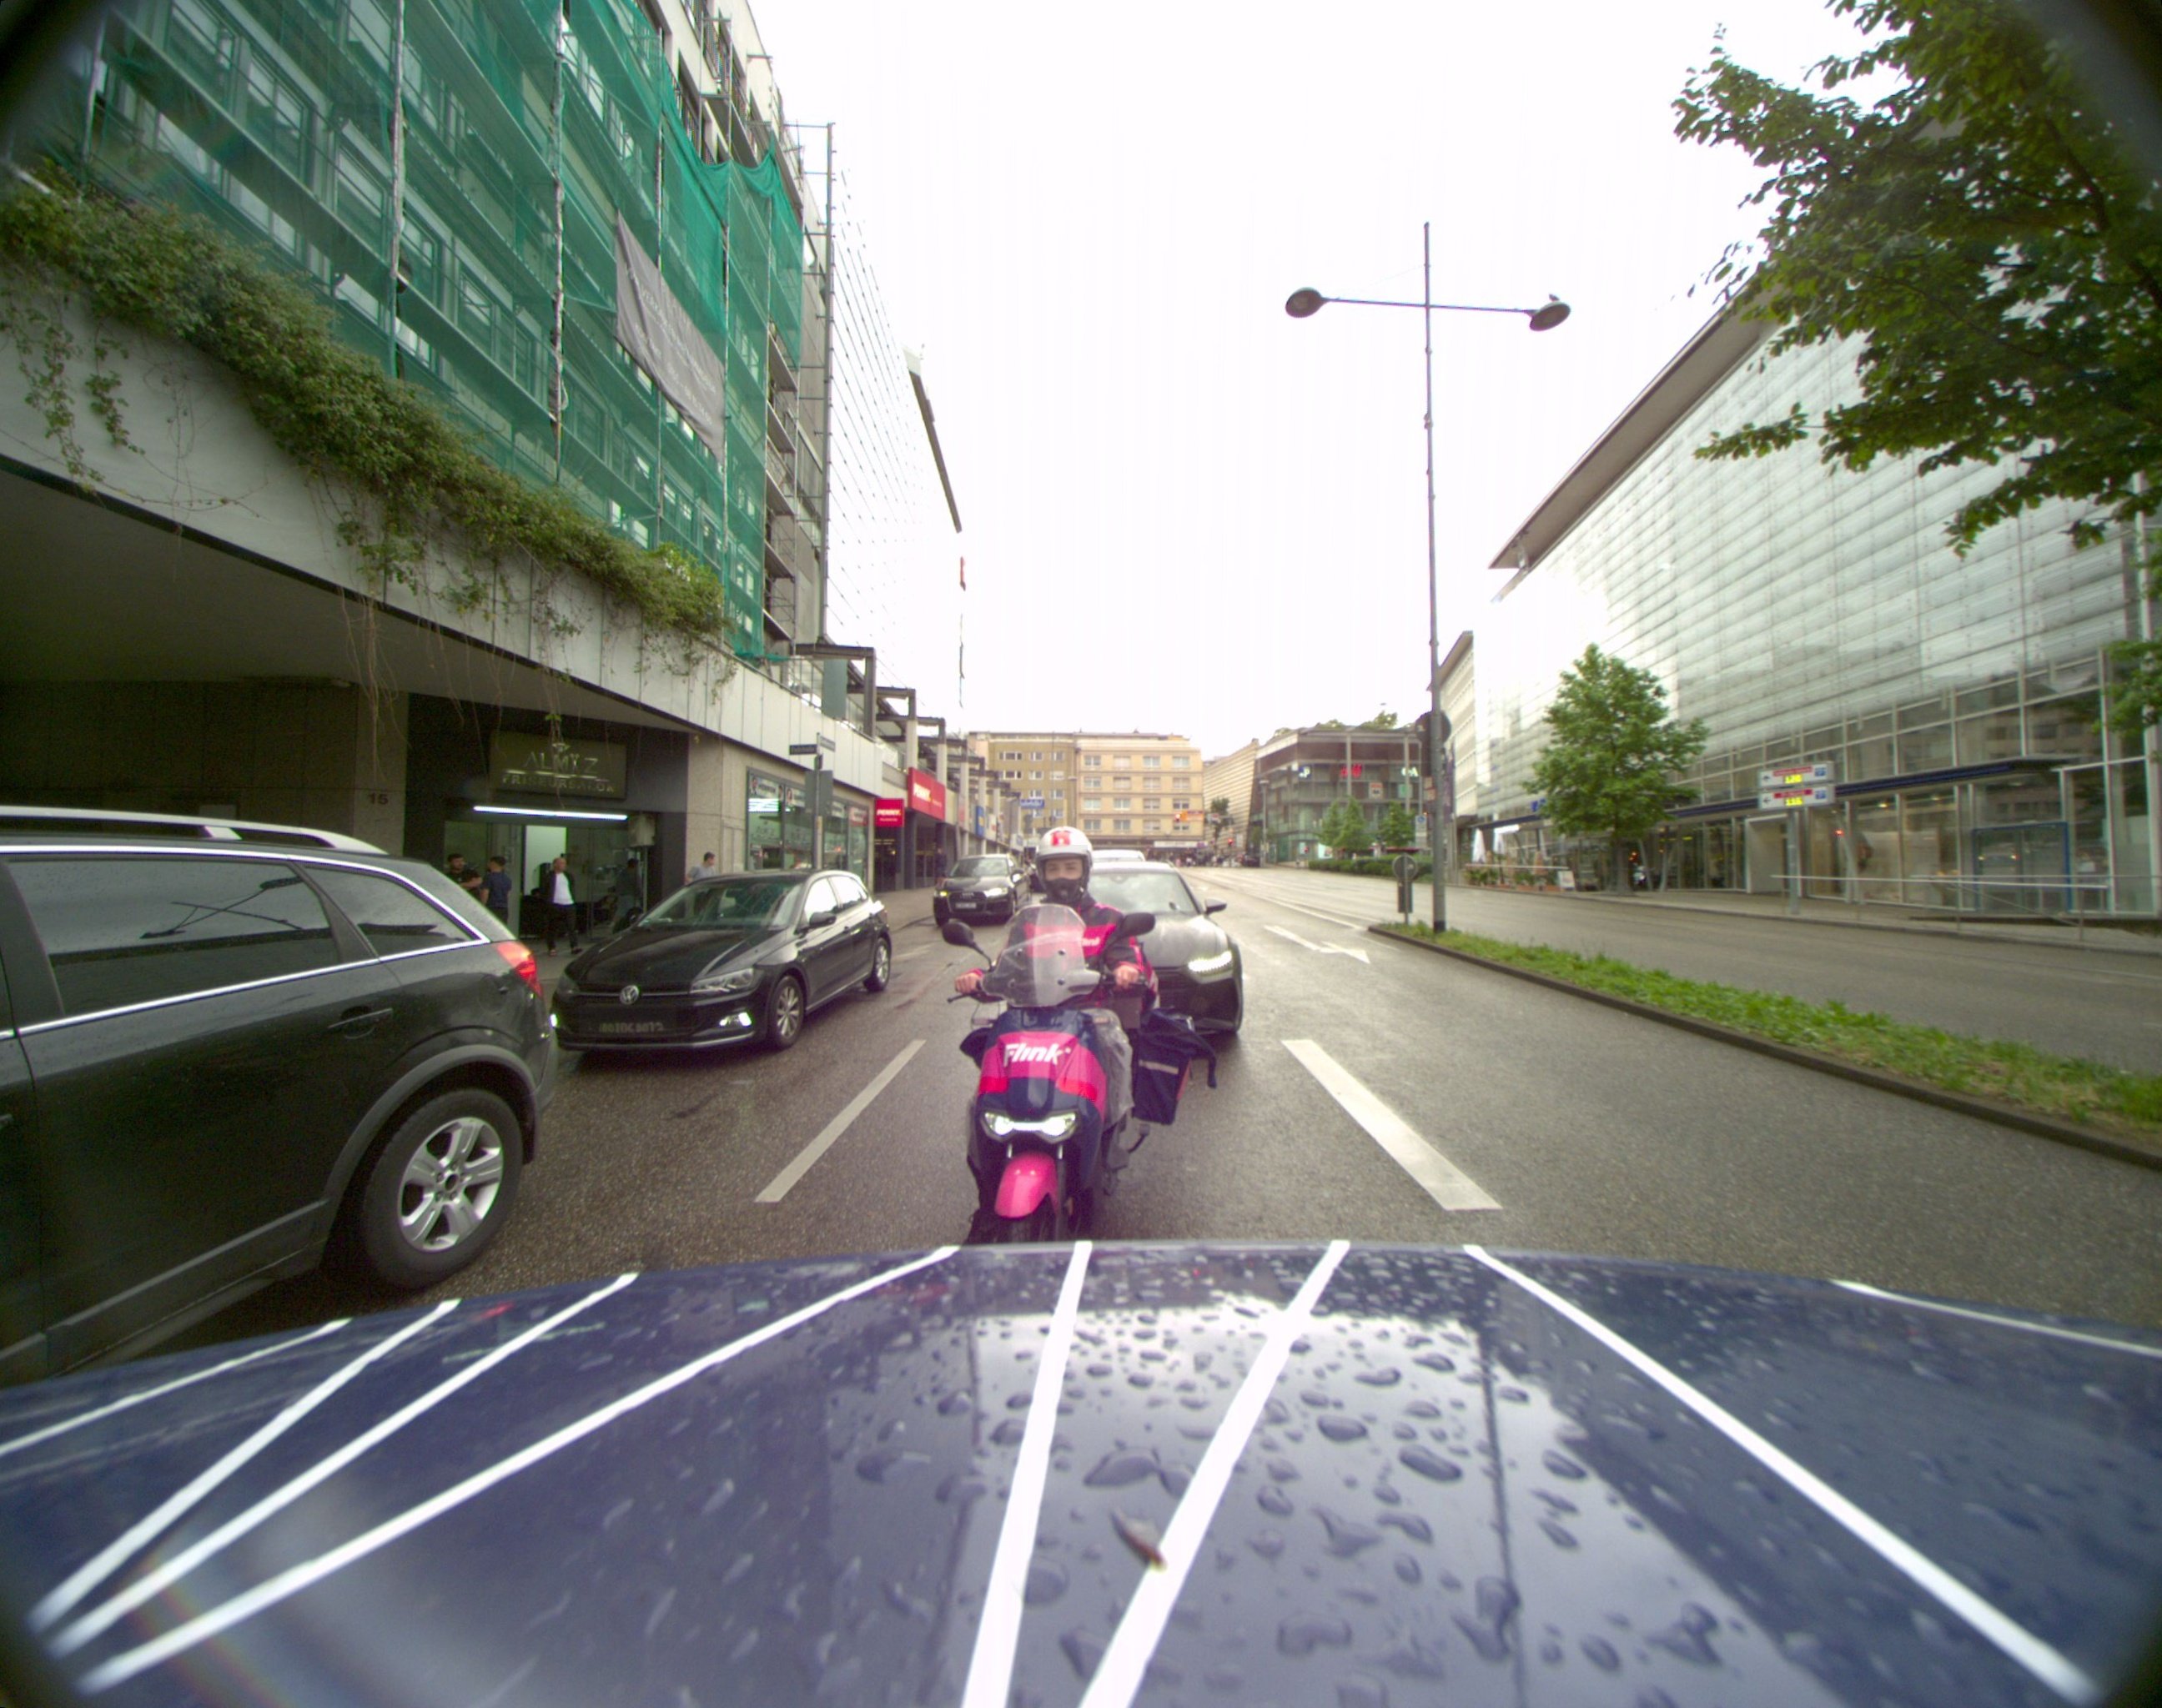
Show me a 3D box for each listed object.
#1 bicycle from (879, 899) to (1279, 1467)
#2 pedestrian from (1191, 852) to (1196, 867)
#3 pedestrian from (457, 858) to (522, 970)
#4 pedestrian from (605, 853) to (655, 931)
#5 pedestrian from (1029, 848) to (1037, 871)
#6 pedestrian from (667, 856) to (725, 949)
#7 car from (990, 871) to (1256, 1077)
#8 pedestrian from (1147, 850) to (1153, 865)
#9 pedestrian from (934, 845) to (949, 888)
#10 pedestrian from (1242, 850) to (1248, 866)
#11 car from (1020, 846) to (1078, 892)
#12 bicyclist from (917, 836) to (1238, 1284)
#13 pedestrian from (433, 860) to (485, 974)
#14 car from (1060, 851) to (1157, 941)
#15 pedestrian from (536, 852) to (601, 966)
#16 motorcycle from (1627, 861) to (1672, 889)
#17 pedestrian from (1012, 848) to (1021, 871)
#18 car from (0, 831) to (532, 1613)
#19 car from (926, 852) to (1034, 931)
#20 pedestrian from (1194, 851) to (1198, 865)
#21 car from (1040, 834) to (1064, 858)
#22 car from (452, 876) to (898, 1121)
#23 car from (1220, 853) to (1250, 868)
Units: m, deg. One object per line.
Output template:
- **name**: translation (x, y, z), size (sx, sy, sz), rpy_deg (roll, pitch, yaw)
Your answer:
- **bicycle**: translation (0.014, 0.981, 3.518), size (1.034, 1.279, 2.948), rpy_deg (-2, 1, 1)
- **pedestrian**: translation (12.578, 0.584, 85.047), size (0.428, 1.620, 0.602), rpy_deg (1, 1, 5)
- **pedestrian**: translation (-8.822, 0.872, 11.357), size (0.640, 1.586, 0.576), rpy_deg (-3, 2, -32)
- **pedestrian**: translation (-9.624, 0.795, 16.226), size (0.676, 1.618, 0.580), rpy_deg (0, 2, 7)
- **pedestrian**: translation (-3.122, 0.379, 49.517), size (0.510, 1.492, 0.579), rpy_deg (0, 2, 0)
- **pedestrian**: translation (-7.064, 0.865, 13.961), size (0.639, 1.633, 0.733), rpy_deg (-2, 2, -3)
- **car**: translation (0.392, 0.924, 7.614), size (1.890, 1.391, 4.165), rpy_deg (-2, -1, 2)
- **pedestrian**: translation (7.330, 0.360, 80.753), size (0.634, 1.620, 0.602), rpy_deg (0, 1, -1)
- **pedestrian**: translation (-5.531, 0.486, 30.166), size (0.510, 1.669, 0.579), rpy_deg (0, 2, 0)
- **pedestrian**: translation (18.609, 0.421, 86.186), size (0.626, 1.764, 0.689), rpy_deg (-2, 2, 5)
- **car**: translation (-1.251, 0.588, 31.325), size (1.988, 1.696, 4.165), rpy_deg (-2, -1, 2)
- **bicyclist**: translation (-0.003, 0.712, 3.047), size (1.063, 1.534, 0.825), rpy_deg (-2, 2, 0)
- **pedestrian**: translation (-9.591, 0.949, 11.718), size (0.466, 1.698, 0.484), rpy_deg (0, 2, 42)
- **car**: translation (0.580, 0.730, 15.542), size (1.675, 1.520, 4.164), rpy_deg (-2, 1, 2)
- **pedestrian**: translation (-8.531, 0.874, 12.644), size (0.771, 1.805, 0.745), rpy_deg (2, 2, 44)
- **motorcycle**: translation (27.896, 1.026, 37.275), size (1.707, 1.319, 0.620), rpy_deg (0, 1, 1)
- **pedestrian**: translation (-4.183, 0.377, 49.375), size (0.510, 1.492, 0.579), rpy_deg (0, 2, 0)
- **car**: translation (-3.340, 0.847, 1.239), size (1.764, 1.755, 4.164), rpy_deg (-2, 0, 1)
- **car**: translation (-2.306, 0.801, 18.423), size (1.841, 1.598, 4.164), rpy_deg (-2, 1, 2)
- **pedestrian**: translation (13.193, 0.472, 87.003), size (0.428, 1.620, 0.602), rpy_deg (1, 1, 3)
- **car**: translation (-2.602, -0.754, 68.388), size (1.605, 2.002, 3.400), rpy_deg (-2, 1, 7)
- **car**: translation (-3.202, 1.025, 7.112), size (1.759, 1.495, 4.165), rpy_deg (-2, -1, 2)
- **car**: translation (21.314, 0.821, 104.867), size (1.994, 2.002, 4.597), rpy_deg (1, 1, 42)
